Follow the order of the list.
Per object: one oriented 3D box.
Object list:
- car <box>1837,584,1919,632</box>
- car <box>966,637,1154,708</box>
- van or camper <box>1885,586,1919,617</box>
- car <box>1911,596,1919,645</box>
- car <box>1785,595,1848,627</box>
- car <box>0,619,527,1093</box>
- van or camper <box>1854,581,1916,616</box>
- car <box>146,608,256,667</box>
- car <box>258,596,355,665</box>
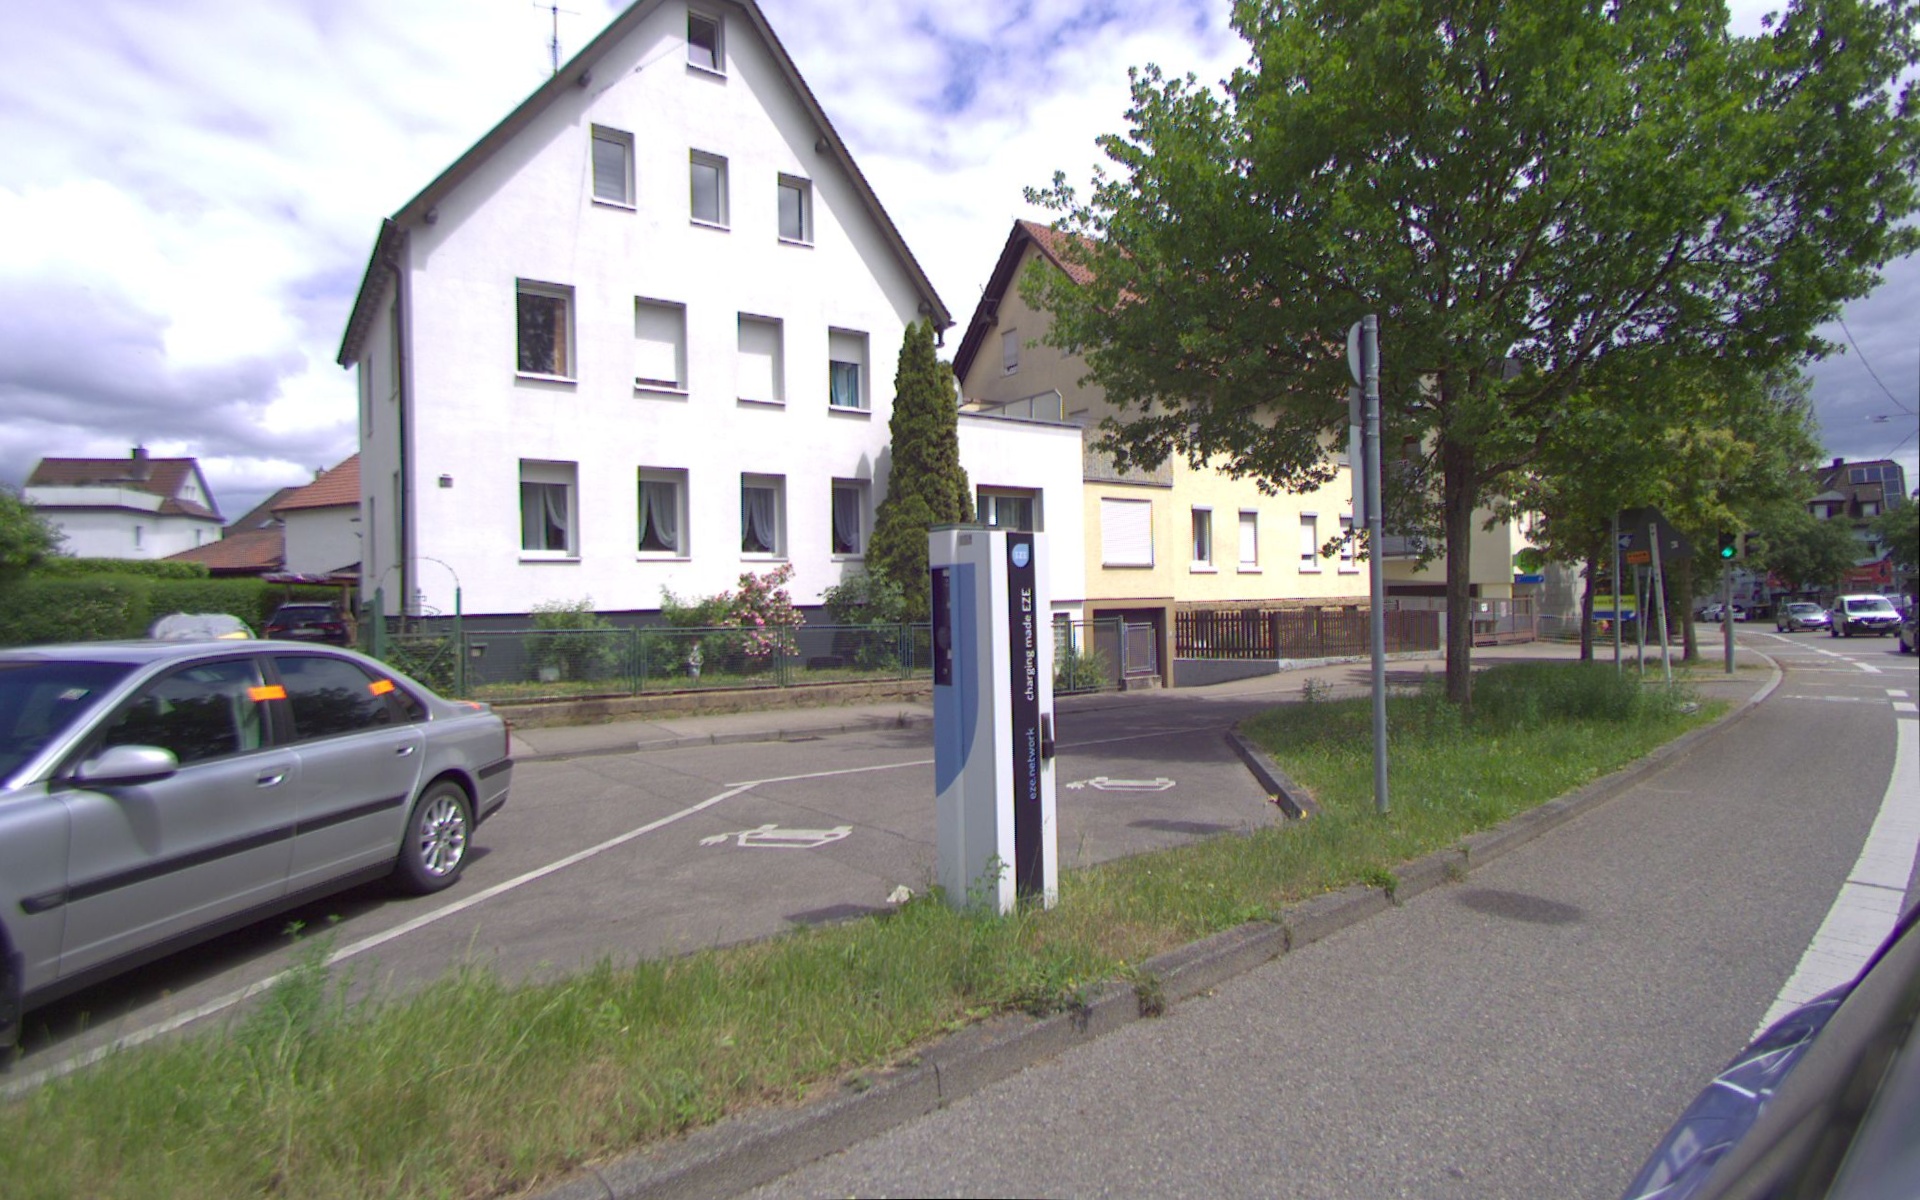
[{"bbox_3d":[38.528,0.313,42.456,1.837,1.839,3.957,-4,-2,31],"label":"car"},{"bbox_3d":[2.125,1.474,21.129,3.798,1.139,1.466,-2,-2,-34],"label":"car"},{"bbox_3d":[69.838,0.127,74.629,1.783,2.116,3.763,-5,-2,35],"label":"van or camper"},{"bbox_3d":[27.994,0.571,28.141,1.831,1.408,3.945,-1,-1,37],"label":"car"},{"bbox_3d":[44.684,0.562,52.874,1.679,1.505,3.958,-4,-2,30],"label":"car"},{"bbox_3d":[-3.818,0.843,4.379,1.735,1.470,4.685,-2,-1,2],"label":"car"},{"bbox_3d":[50.275,-0.082,55.081,1.854,1.799,4.325,-2,-1,35],"label":"van or camper"},{"bbox_3d":[-19.419,0.936,26.043,1.961,1.349,4.000,4,-3,-34],"label":"car"},{"bbox_3d":[-17.269,0.766,26.677,1.962,1.661,3.998,0,-1,-36],"label":"car"}]
